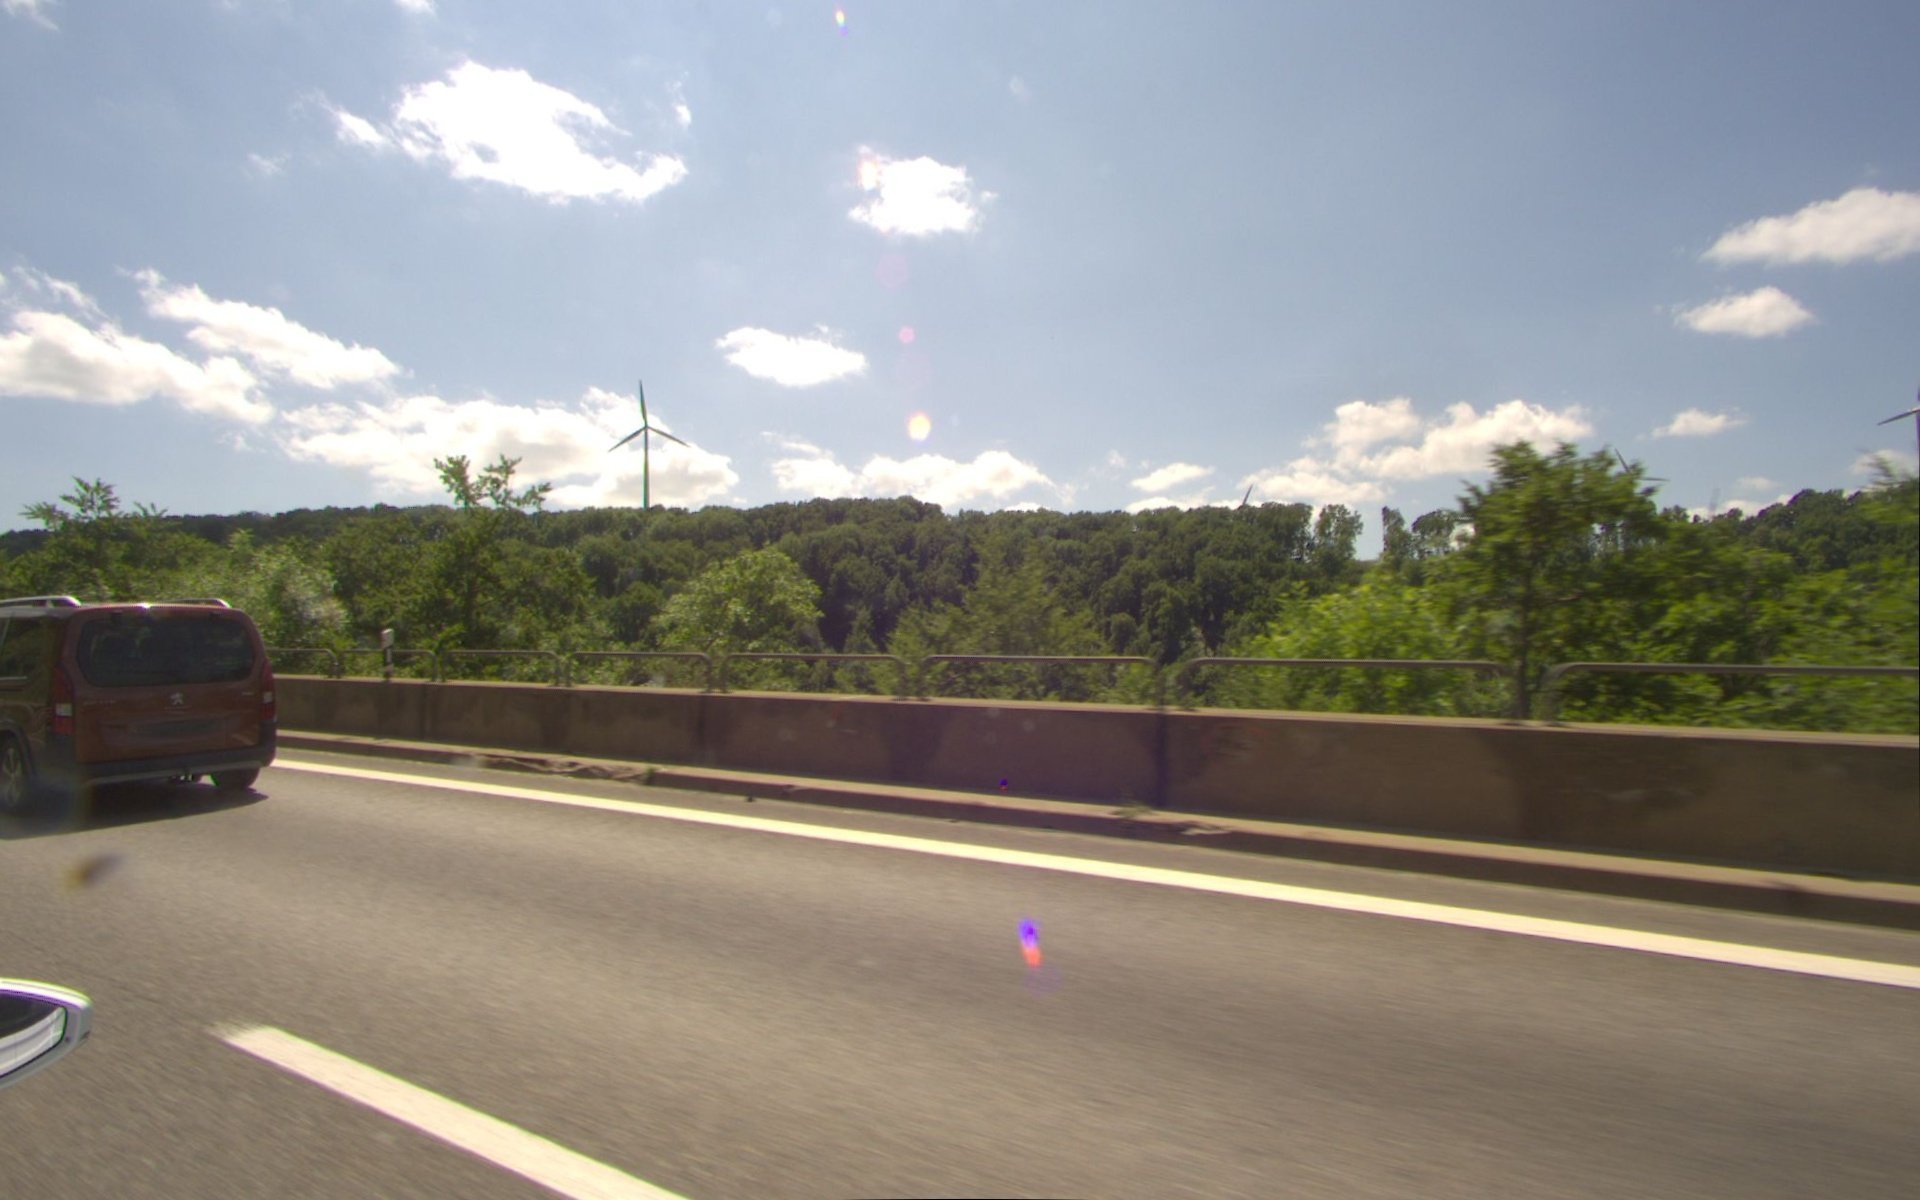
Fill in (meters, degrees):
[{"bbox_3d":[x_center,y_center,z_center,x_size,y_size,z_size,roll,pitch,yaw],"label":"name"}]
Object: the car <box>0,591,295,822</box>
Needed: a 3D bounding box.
[{"bbox_3d":[-8.710,0.930,9.842,4.608,1.806,1.831,-2,-2,31],"label":"car"}]
